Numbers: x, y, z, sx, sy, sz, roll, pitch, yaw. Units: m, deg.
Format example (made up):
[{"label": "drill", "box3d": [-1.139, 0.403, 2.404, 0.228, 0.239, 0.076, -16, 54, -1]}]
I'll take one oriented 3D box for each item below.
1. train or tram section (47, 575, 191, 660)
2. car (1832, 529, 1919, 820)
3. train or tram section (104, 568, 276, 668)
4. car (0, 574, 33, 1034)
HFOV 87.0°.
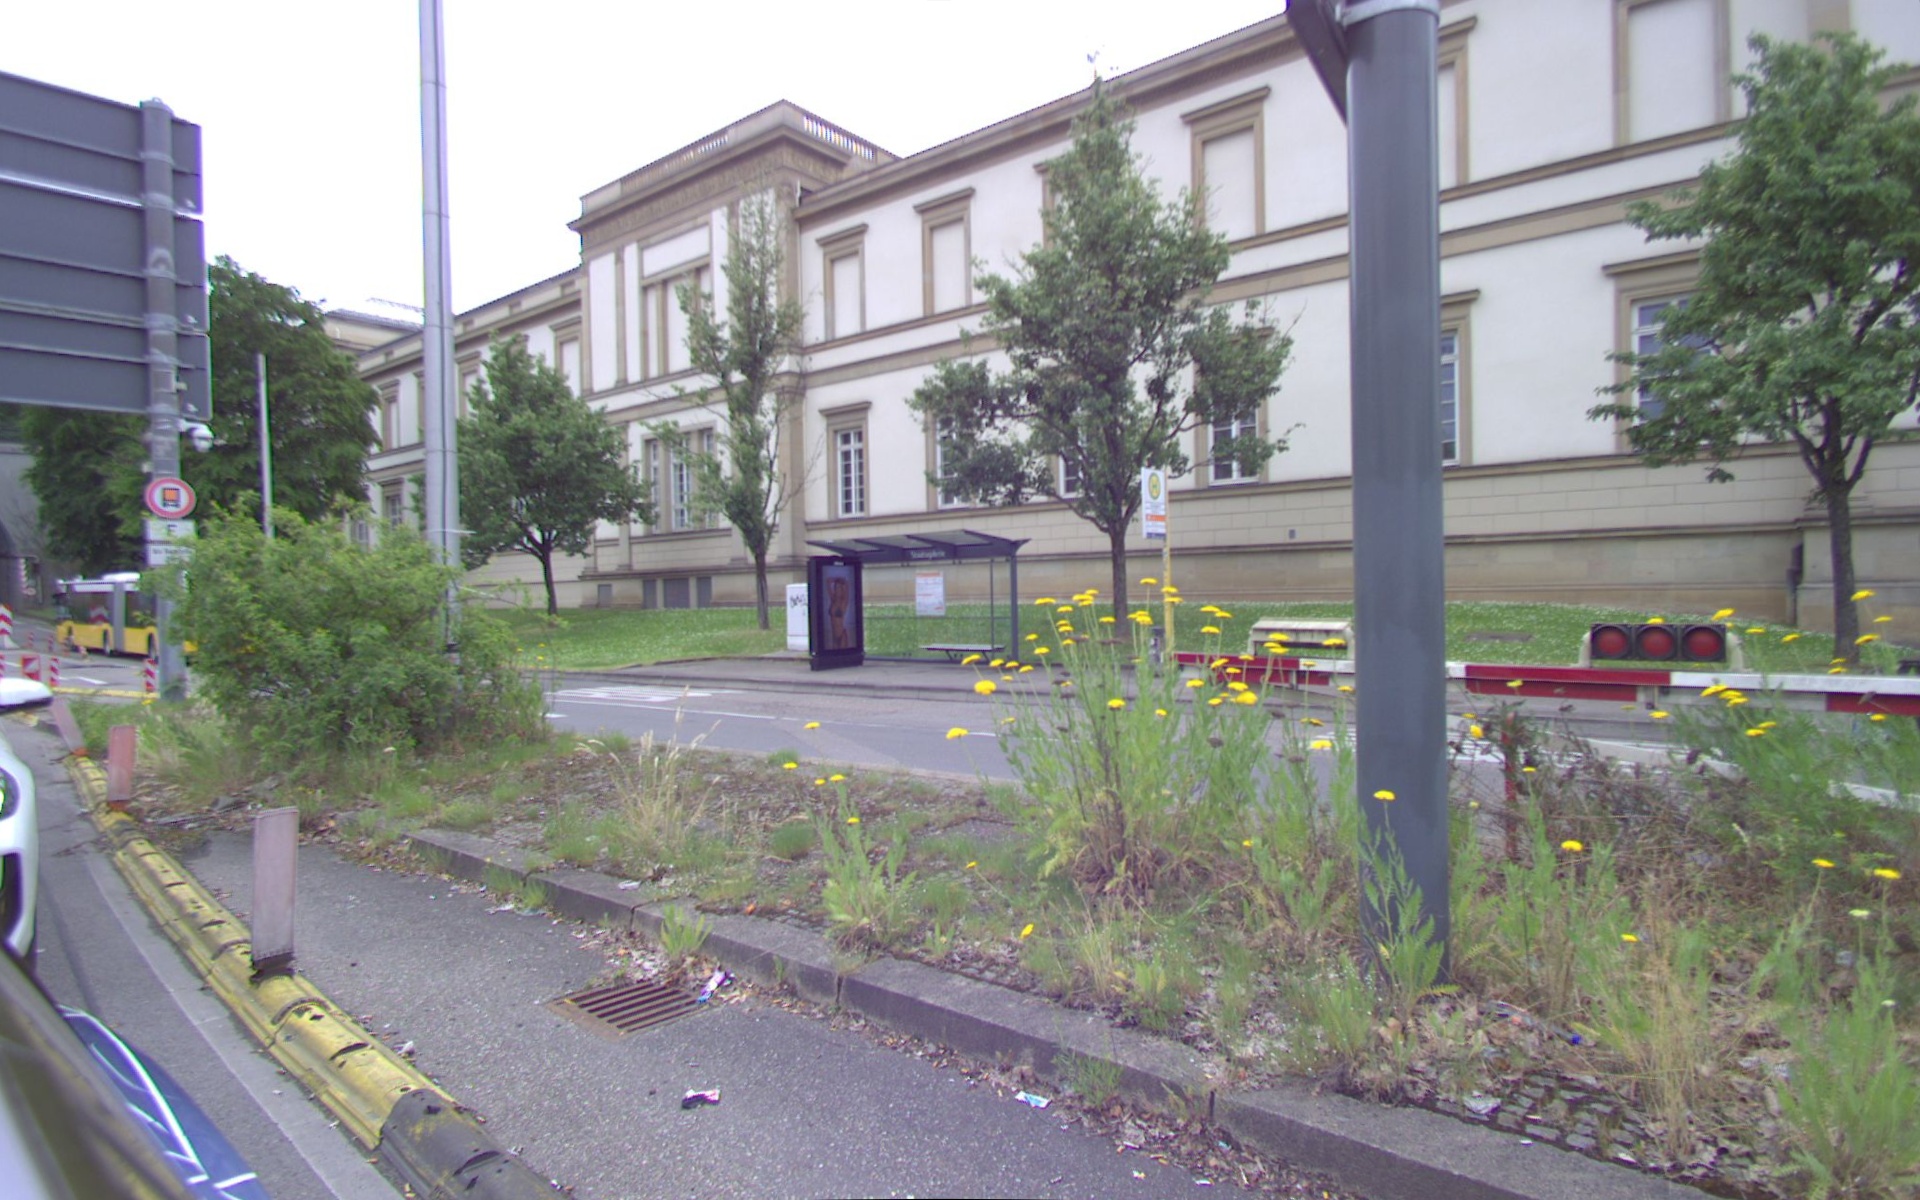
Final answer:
[{"label": "train or tram section", "box3d": [-34.332, 0.755, 41.164, 9.365, 3.094, 2.667, -1, -2, 39]}, {"label": "car", "box3d": [7.470, 0.394, 5.022, 4.343, 1.638, 1.871, -1, 0, 24]}, {"label": "train or tram section", "box3d": [-27.029, 0.677, 35.321, 9.326, 3.094, 2.667, -2, -2, 39]}, {"label": "car", "box3d": [-5.234, 0.722, 4.209, 3.911, 1.568, 1.733, -1, 0, 43]}]
